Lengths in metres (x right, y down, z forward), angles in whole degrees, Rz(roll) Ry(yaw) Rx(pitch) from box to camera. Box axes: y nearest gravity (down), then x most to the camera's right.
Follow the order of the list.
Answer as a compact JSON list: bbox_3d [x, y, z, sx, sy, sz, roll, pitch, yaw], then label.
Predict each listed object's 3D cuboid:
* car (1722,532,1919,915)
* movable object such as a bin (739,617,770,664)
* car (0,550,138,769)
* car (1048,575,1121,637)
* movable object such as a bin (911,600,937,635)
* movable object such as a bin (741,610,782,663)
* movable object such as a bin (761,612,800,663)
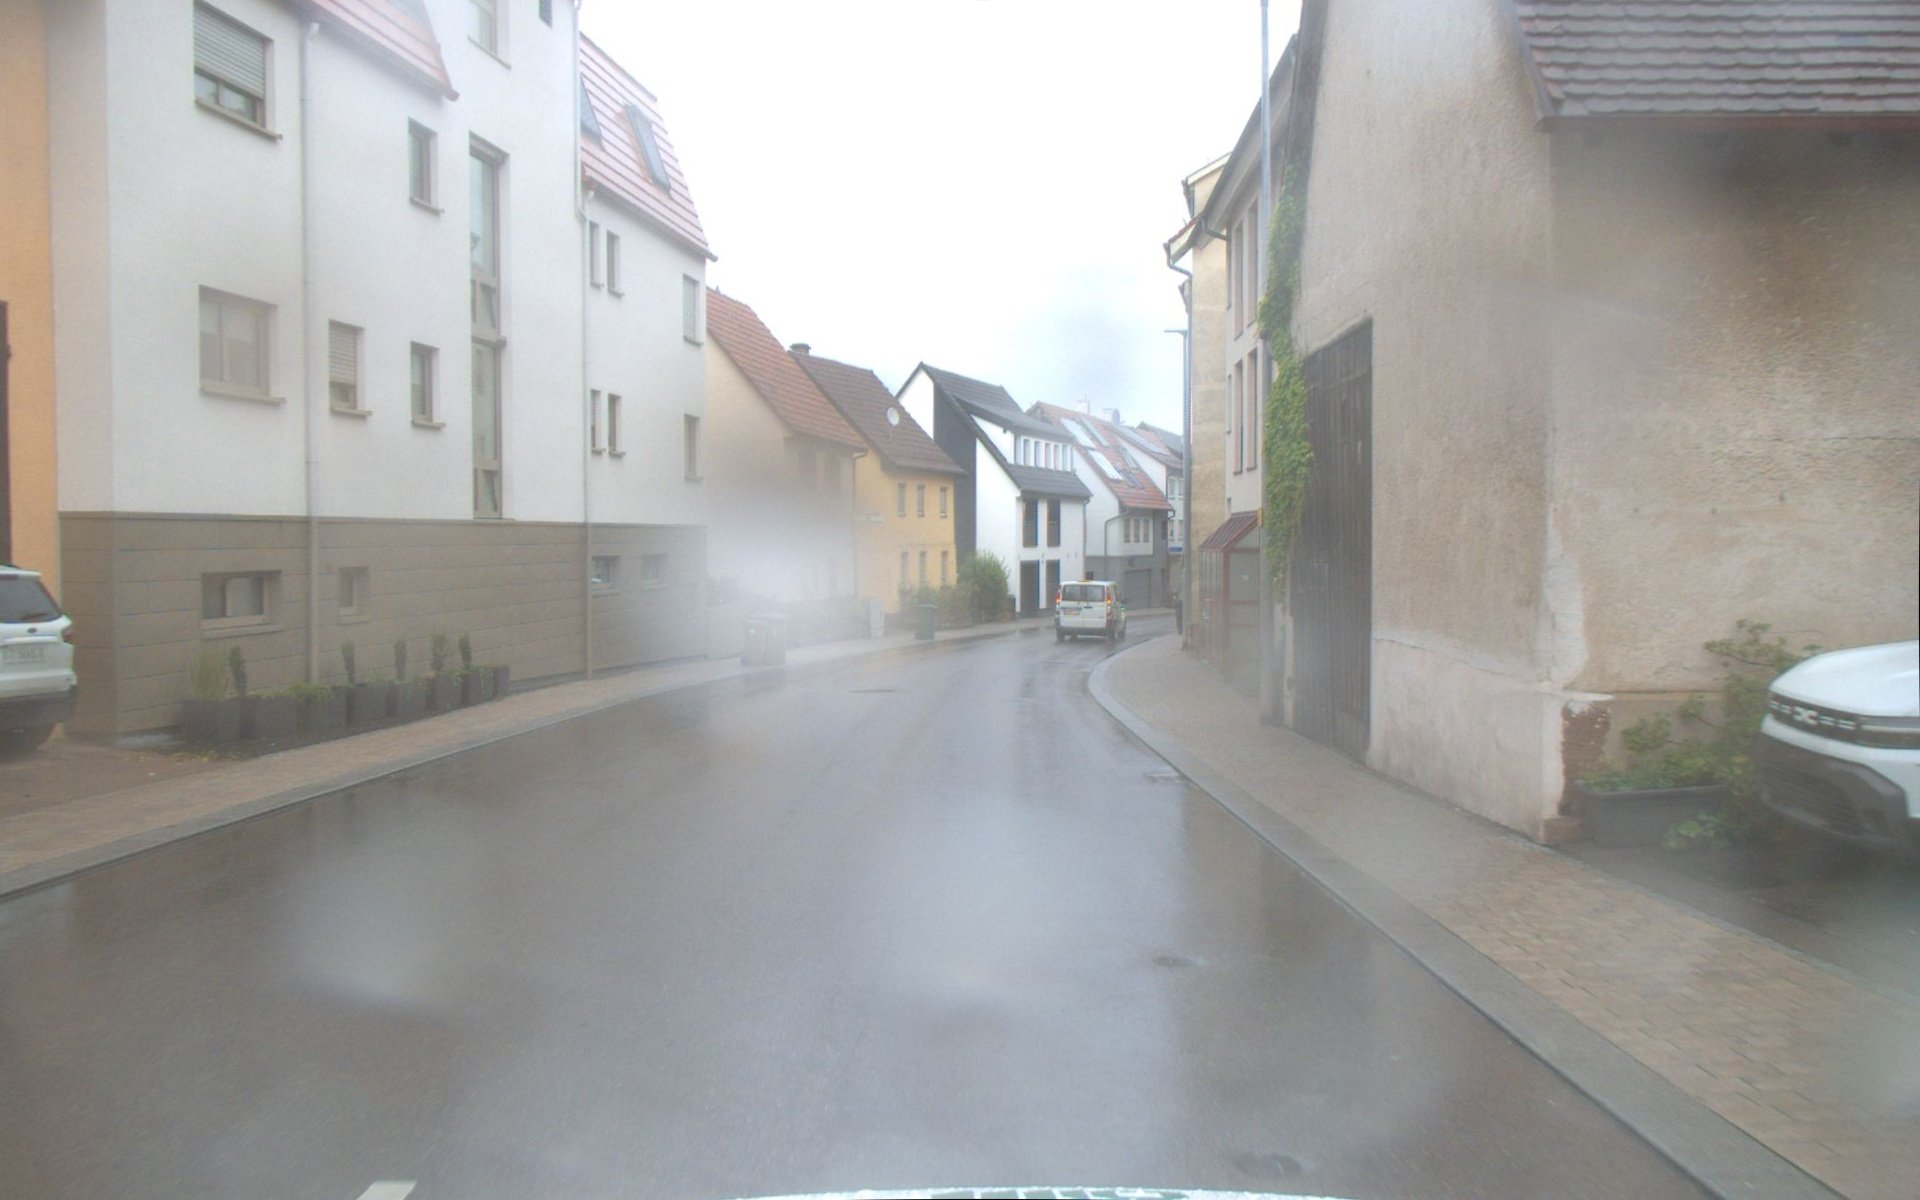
[{"bbox_3d":[6.256,0.472,8.124,4.129,1.678,1.903,-2,0,2],"label":"car"},{"bbox_3d":[-4.242,0.837,34.159,0.495,0.938,0.579,1,0,6],"label":"movable object such as a bin"},{"bbox_3d":[-9.391,0.366,13.946,3.903,1.699,1.879,3,0,4],"label":"car"},{"bbox_3d":[4.031,0.186,52.894,2.148,1.884,4.307,0,0,6],"label":"car"},{"bbox_3d":[-1.144,0.540,52.452,0.645,1.074,0.764,3,1,10],"label":"movable object such as a bin"},{"bbox_3d":[-4.196,0.762,34.978,0.667,1.085,0.695,1,0,8],"label":"movable object such as a bin"},{"bbox_3d":[-3.861,0.796,35.546,0.667,1.064,0.662,1,0,8],"label":"movable object such as a bin"}]
